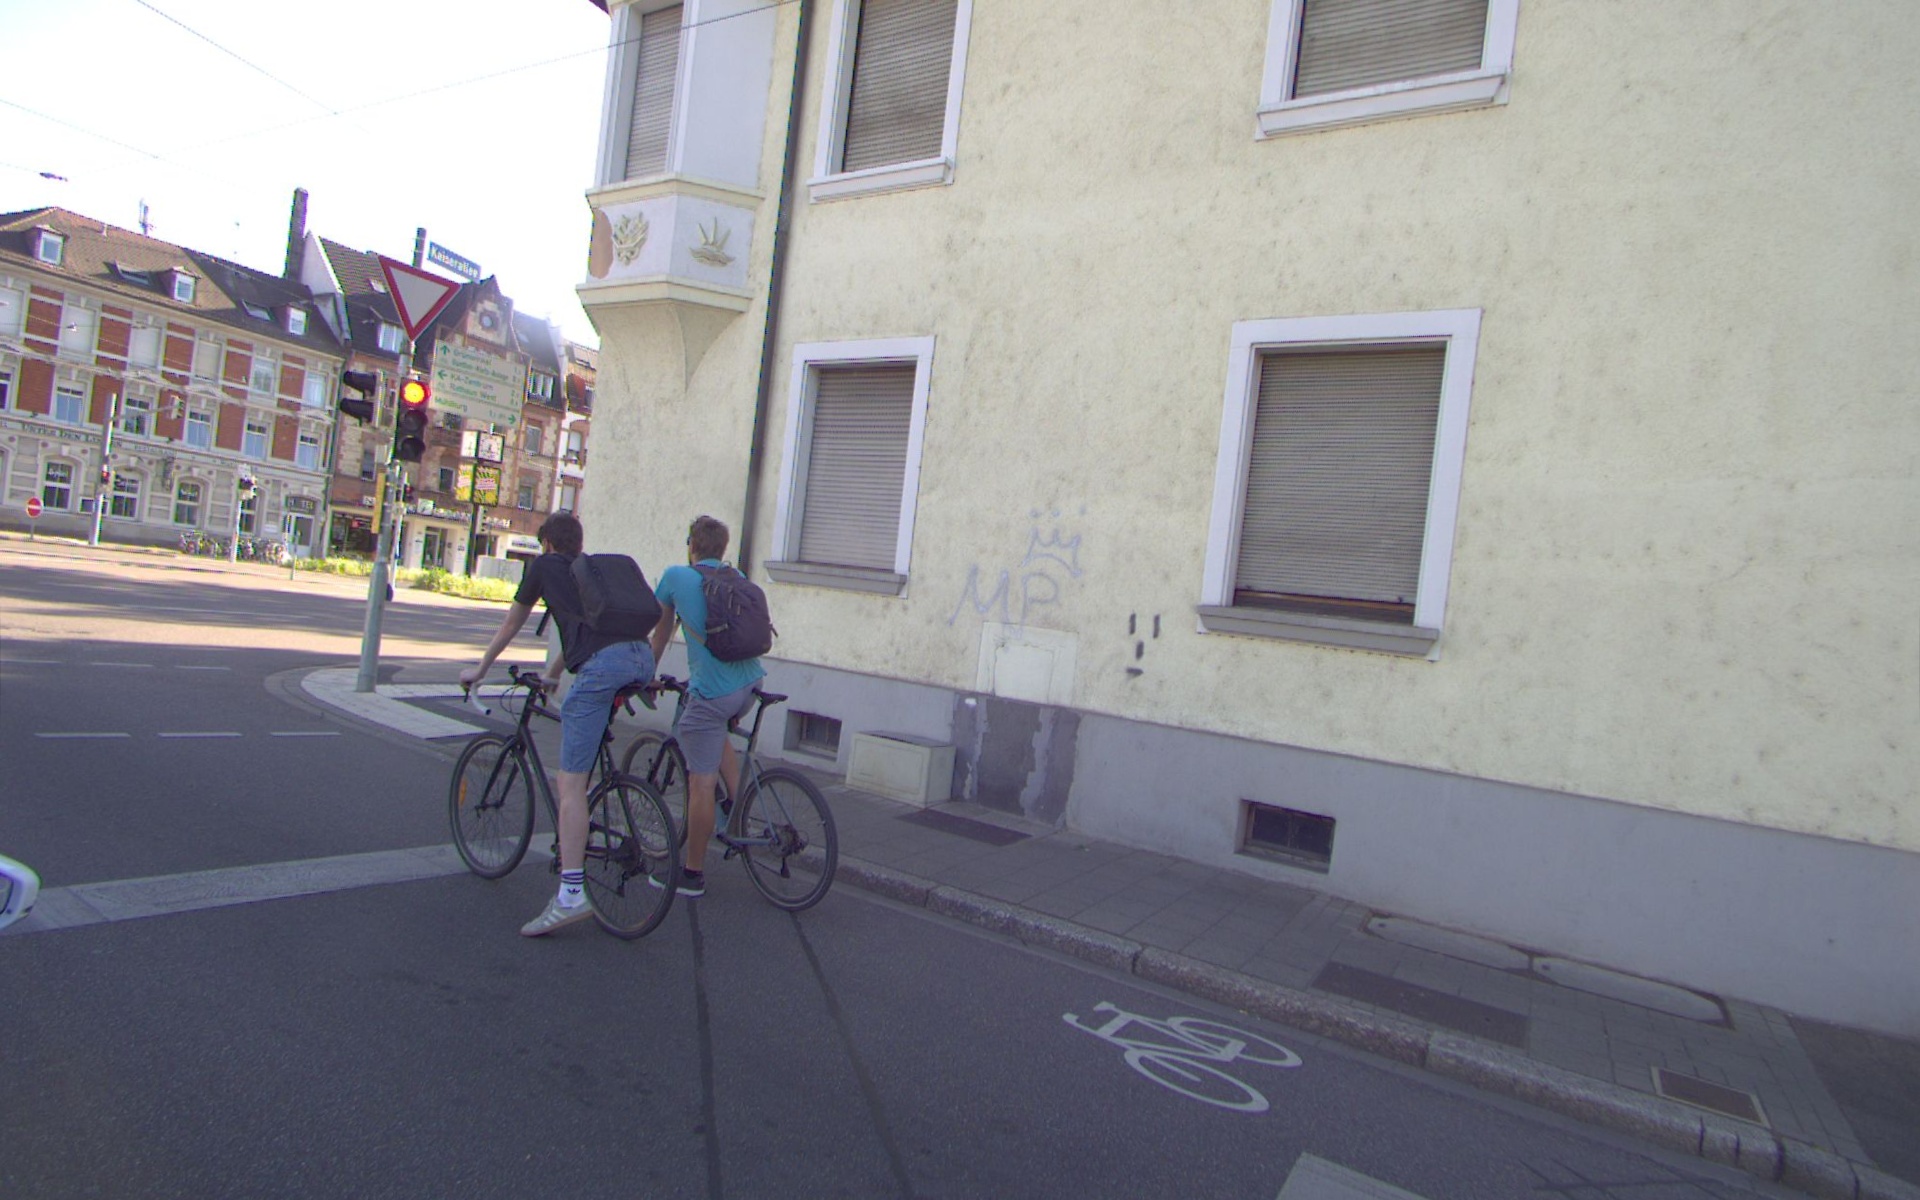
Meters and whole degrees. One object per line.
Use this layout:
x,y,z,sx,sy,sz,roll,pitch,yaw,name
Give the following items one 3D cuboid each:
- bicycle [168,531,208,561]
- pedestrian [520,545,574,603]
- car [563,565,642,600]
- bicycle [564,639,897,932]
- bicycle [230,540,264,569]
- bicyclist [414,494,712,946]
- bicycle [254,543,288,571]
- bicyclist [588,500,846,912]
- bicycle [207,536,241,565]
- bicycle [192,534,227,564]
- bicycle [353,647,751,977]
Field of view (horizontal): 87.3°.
-35.057,-2.443,45.678,2.140,1.157,0.806,7,0,37,bicycle
-16.563,-1.037,40.377,1.285,2.068,1.321,7,0,31,pedestrian
-23.167,-1.119,65.319,2.116,1.660,4.340,7,-1,31,car
-1.254,0.884,5.280,1.784,1.130,0.519,7,0,34,bicycle
-33.675,-2.158,47.510,2.140,1.157,0.618,7,0,37,bicycle
-1.803,0.471,4.545,1.083,1.775,0.562,7,0,34,bicyclist
-33.110,-2.065,48.314,2.102,1.150,0.609,7,0,37,bicycle
-1.270,0.498,5.246,0.961,1.917,0.602,6,-1,34,bicyclist
-34.207,-2.305,46.758,2.140,1.157,0.618,7,0,37,bicycle
-34.543,-2.353,46.281,2.140,1.157,0.618,7,0,37,bicycle
-1.915,0.853,4.591,1.897,1.023,0.645,7,0,34,bicycle
